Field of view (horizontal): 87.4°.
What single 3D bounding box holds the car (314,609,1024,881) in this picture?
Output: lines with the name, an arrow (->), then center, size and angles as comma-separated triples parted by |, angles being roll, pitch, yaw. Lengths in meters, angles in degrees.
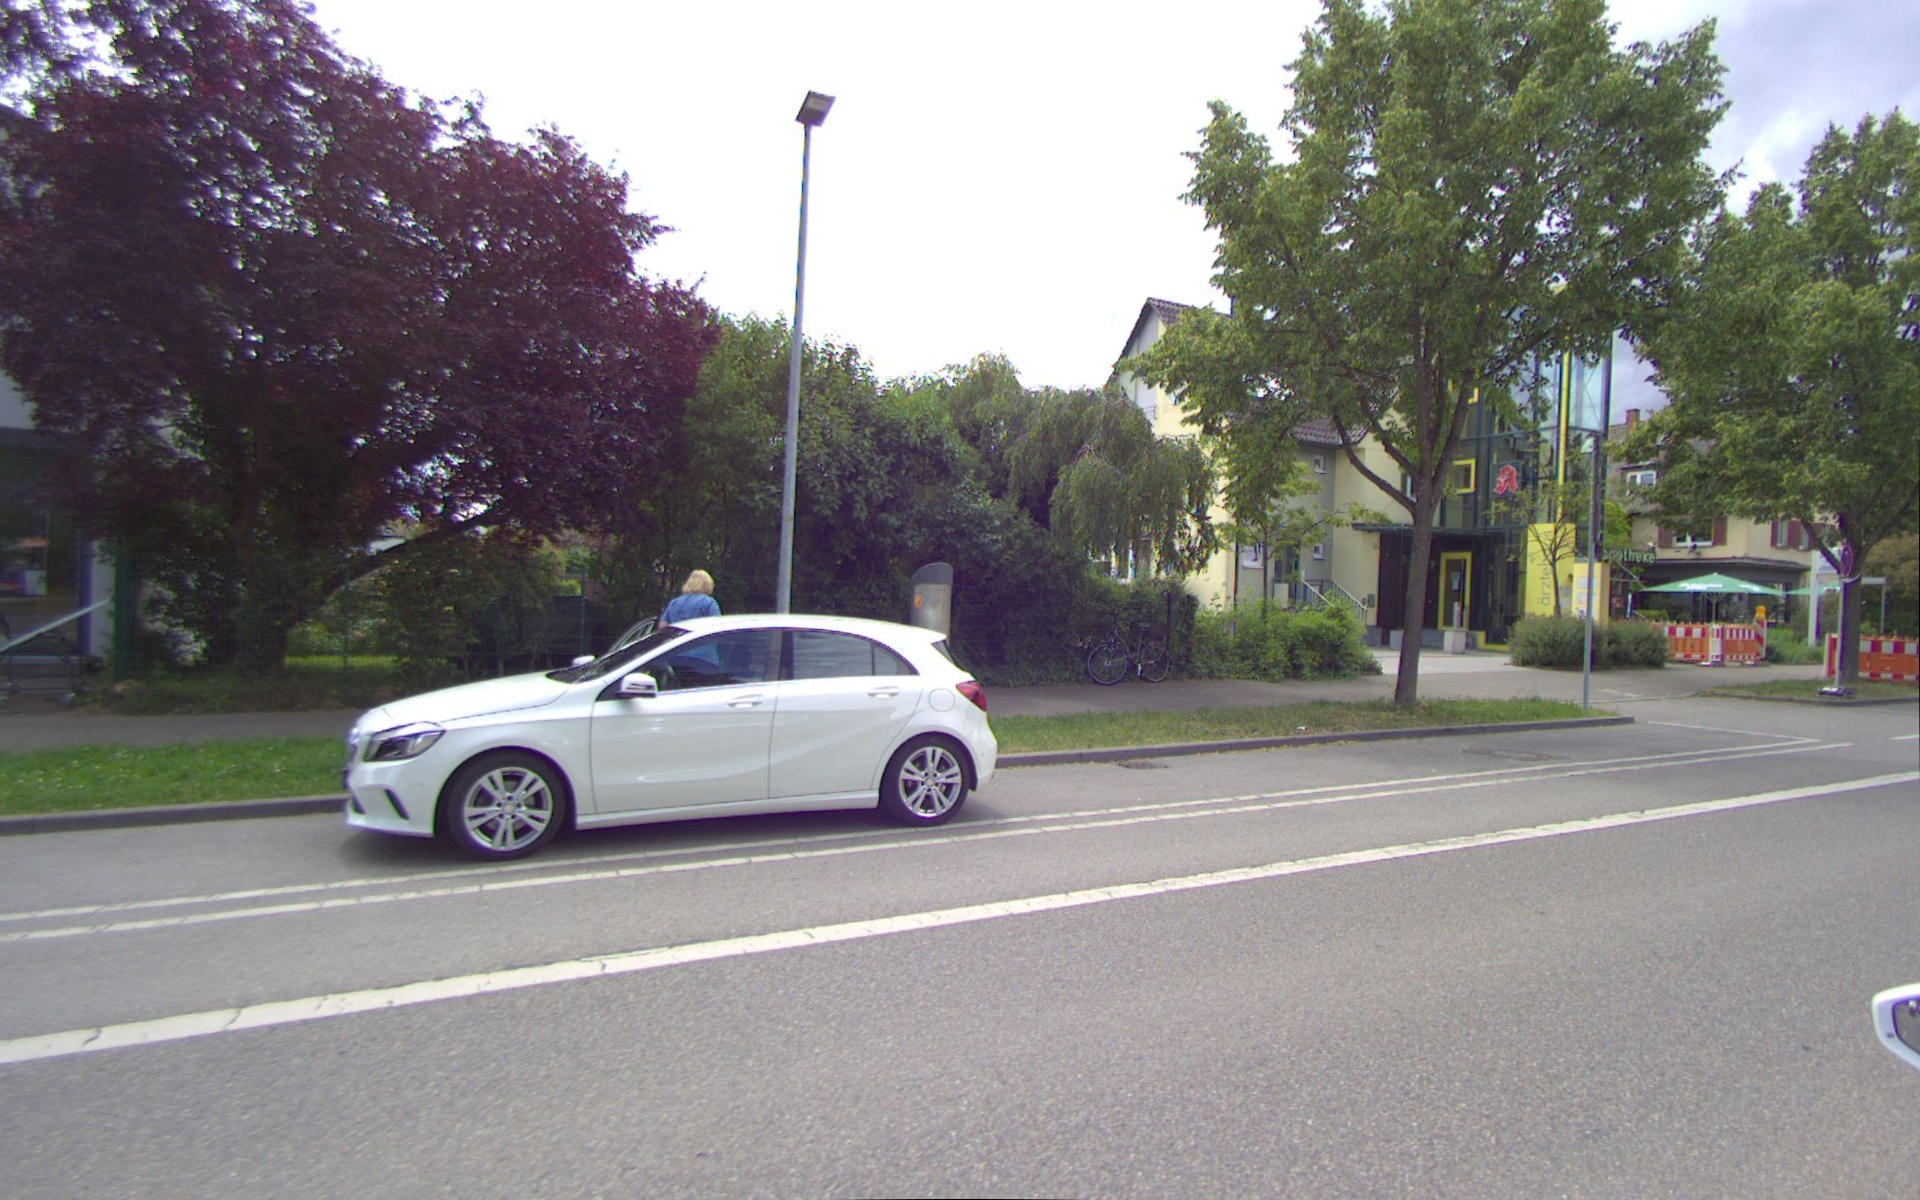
car -> -1.826, 0.812, 6.984 | 4.241, 1.425, 1.709 | 1, 0, -25

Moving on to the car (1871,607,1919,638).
car -> 56.699, 1.359, 59.274 | 1.723, 1.793, 3.973 | 2, 0, -26

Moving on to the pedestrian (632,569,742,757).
pedestrian -> -2.360, 0.520, 8.719 | 0.573, 1.549, 0.698 | 1, 0, 28

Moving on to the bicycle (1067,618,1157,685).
bicycle -> 2.541, 0.847, 16.700 | 1.565, 1.062, 0.459 | 1, 0, -34
